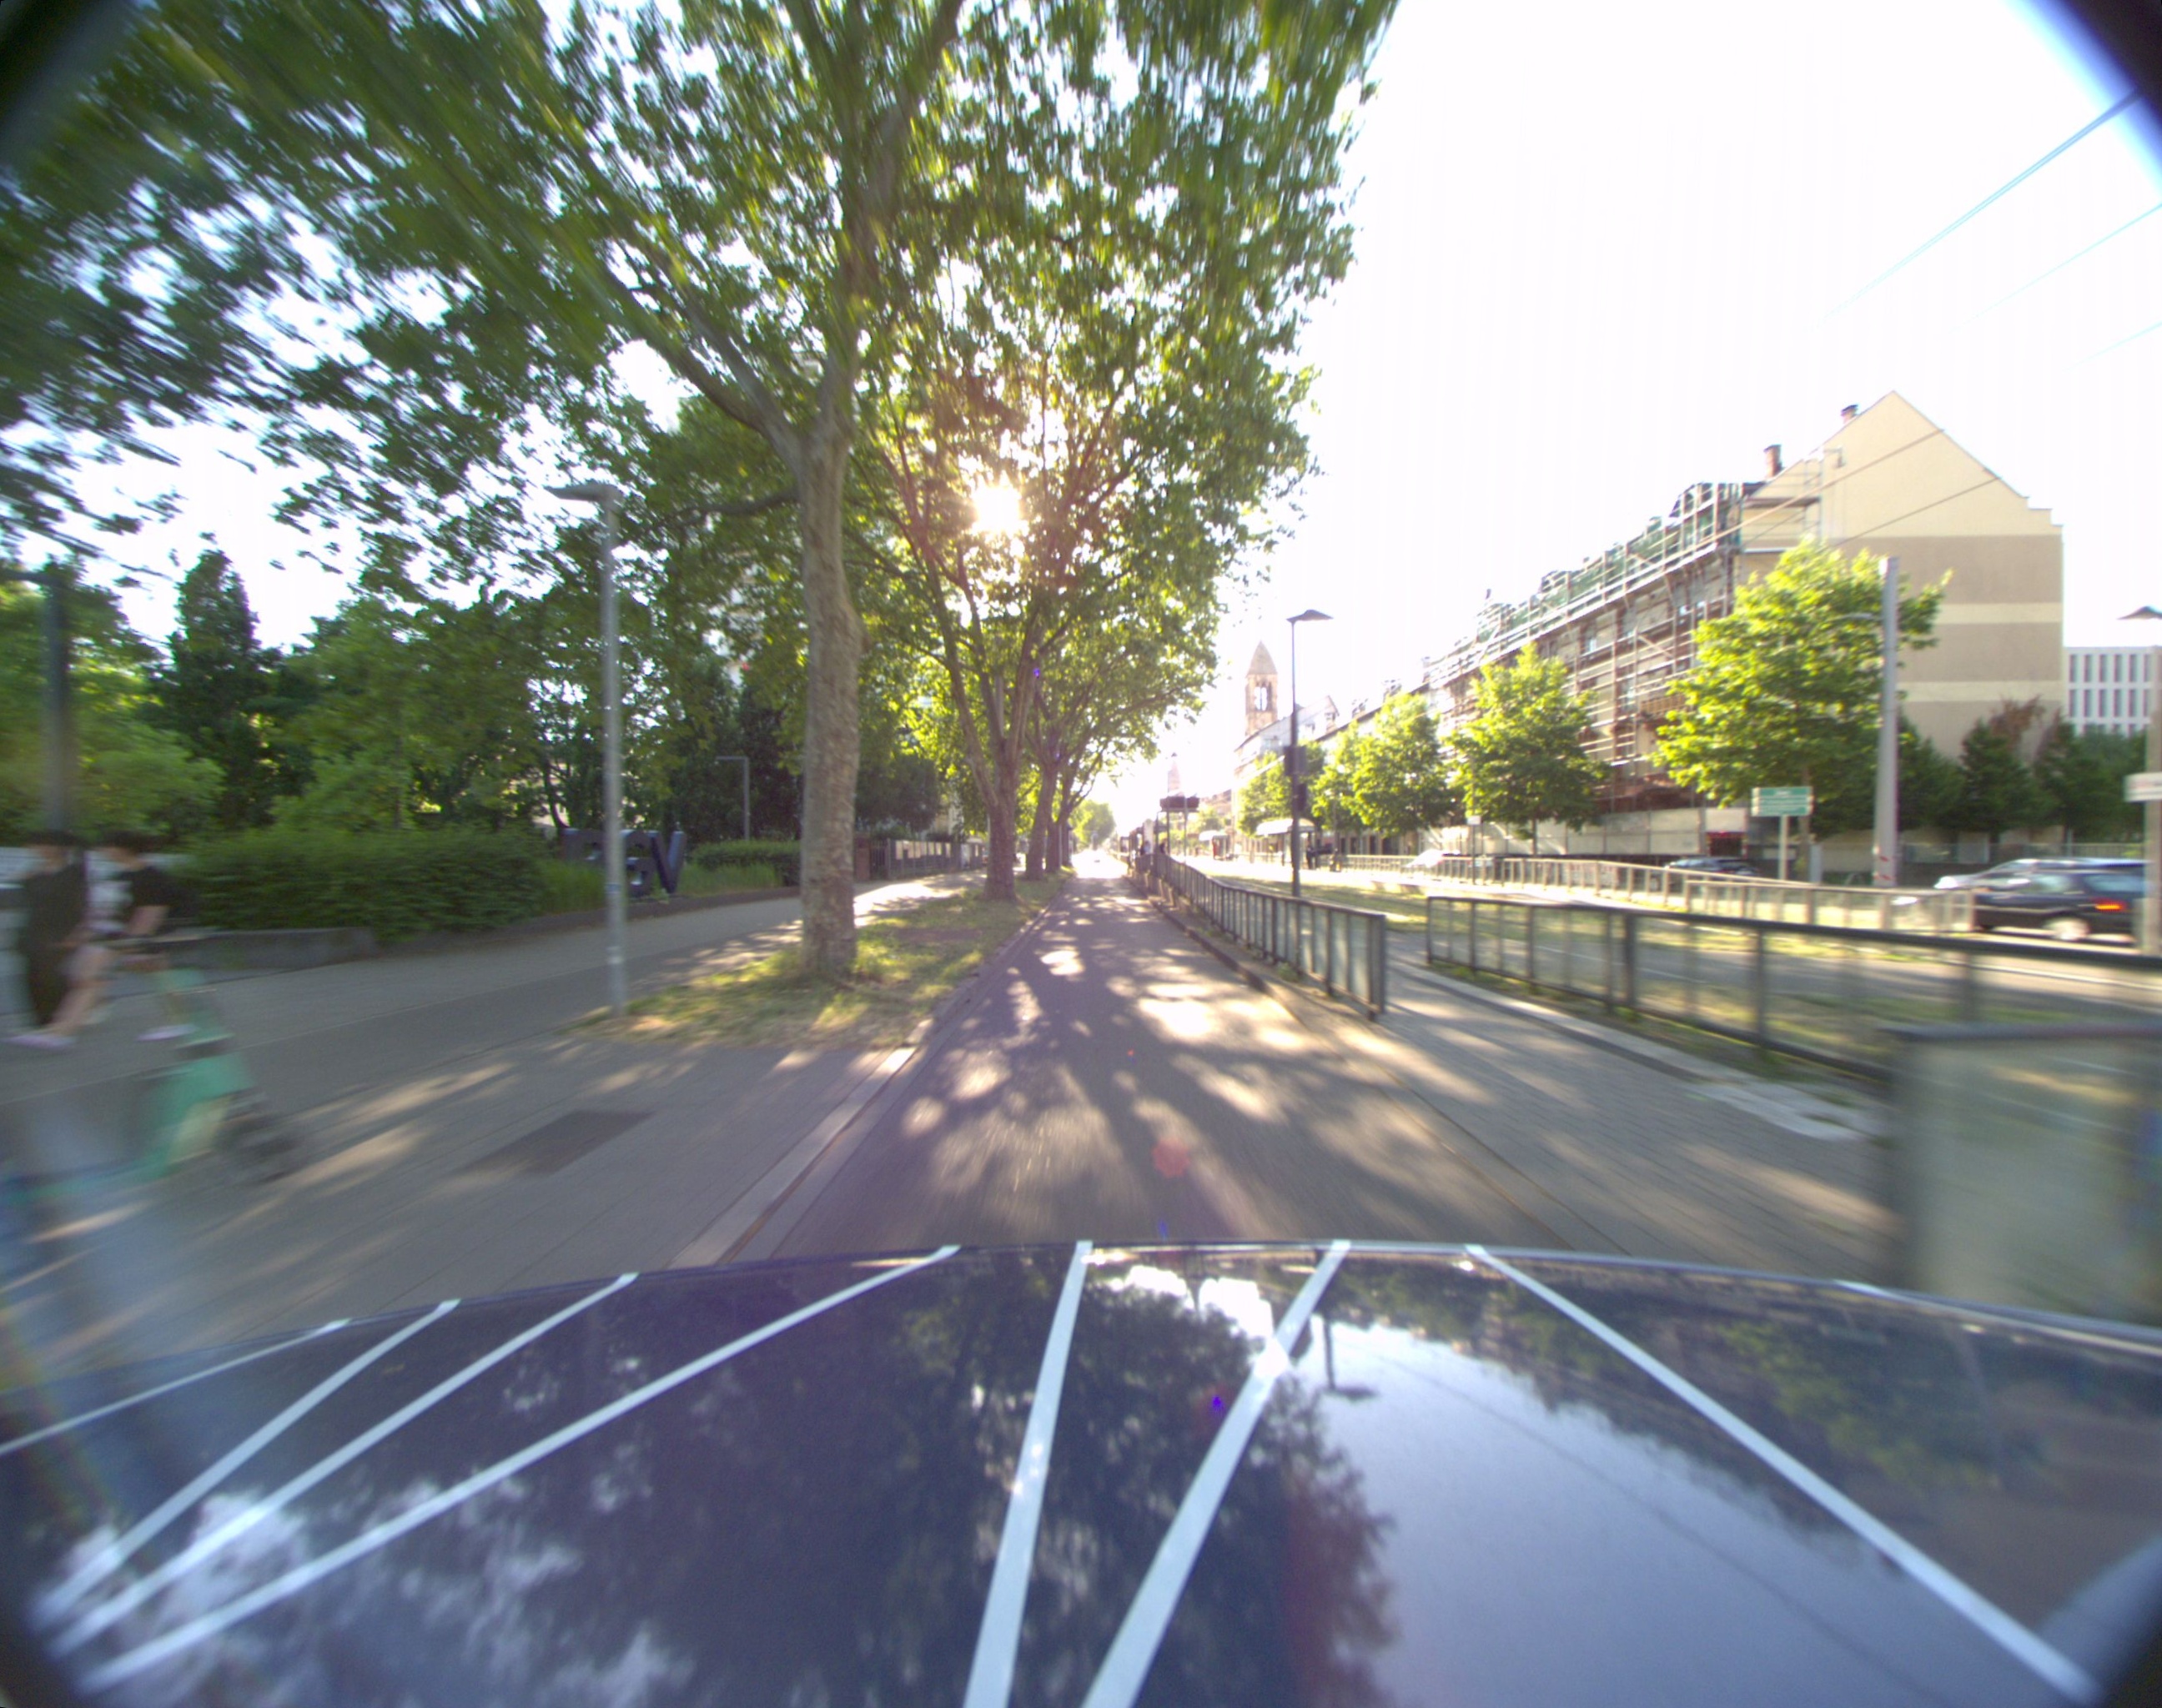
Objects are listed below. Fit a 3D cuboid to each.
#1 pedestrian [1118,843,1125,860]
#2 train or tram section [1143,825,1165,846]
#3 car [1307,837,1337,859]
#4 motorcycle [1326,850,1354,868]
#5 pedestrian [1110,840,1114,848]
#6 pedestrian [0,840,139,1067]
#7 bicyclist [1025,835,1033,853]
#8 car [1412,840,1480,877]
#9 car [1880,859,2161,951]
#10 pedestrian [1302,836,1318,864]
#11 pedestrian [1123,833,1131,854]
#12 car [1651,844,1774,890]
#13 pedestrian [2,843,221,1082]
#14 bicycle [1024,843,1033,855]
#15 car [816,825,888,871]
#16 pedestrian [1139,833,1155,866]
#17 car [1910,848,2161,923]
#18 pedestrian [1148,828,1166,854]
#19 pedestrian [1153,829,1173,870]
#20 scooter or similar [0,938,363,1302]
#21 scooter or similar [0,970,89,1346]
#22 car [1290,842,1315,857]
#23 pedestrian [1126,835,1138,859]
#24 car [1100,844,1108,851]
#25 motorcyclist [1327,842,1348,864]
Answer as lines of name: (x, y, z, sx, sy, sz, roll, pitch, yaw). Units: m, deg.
pedestrian: (3.949, -0.241, 74.371, 0.550, 1.698, 0.599, -2, 2, -2)
train or tram section: (12.958, -3.286, 136.029, 2.876, 3.665, 14.557, 0, 1, 1)
car: (25.303, -0.686, 79.841, 1.945, 2.154, 3.784, -2, 1, 1)
motorcycle: (16.251, 0.296, 47.759, 0.820, 1.067, 2.400, -3, 1, -3)
pedestrian: (6.534, -2.138, 160.534, 0.678, 1.612, 0.925, -2, 2, -1)
pedestrian: (-8.165, 0.719, 5.910, 0.651, 1.647, 0.783, 1, 2, 1)
bicyclist: (-4.515, -0.854, 65.444, 0.604, 1.542, 0.860, 0, 2, 0)
car: (19.618, 0.193, 41.075, 1.868, 1.796, 4.027, -2, 1, 3)
car: (18.625, 0.894, 15.033, 1.610, 1.400, 3.850, -2, 1, 1)
pedestrian: (13.713, -0.248, 45.461, 0.681, 1.680, 0.654, -2, 2, -1)
pedestrian: (4.570, -1.052, 75.540, 0.600, 1.985, 0.824, -2, 2, 6)
car: (24.715, 0.450, 29.932, 1.725, 1.577, 4.065, -2, 1, 5)
pedestrian: (-7.122, 0.748, 5.628, 0.629, 1.647, 0.740, 1, 2, 1)
bicycle: (-4.507, -0.405, 65.507, 0.604, 1.020, 1.766, 0, 1, 0)
car: (-13.787, -0.410, 46.162, 1.998, 2.485, 6.346, -2, 1, 3)
pedestrian: (3.456, -0.220, 39.877, 0.681, 1.680, 0.894, -2, 2, 1)
car: (24.062, 0.708, 19.321, 1.725, 1.577, 4.065, -2, 1, 5)
pedestrian: (5.057, -0.856, 50.361, 0.912, 1.712, 0.630, -4, 2, -32)
pedestrian: (3.482, -0.187, 32.339, 0.758, 1.680, 0.678, -2, 2, 1)
scooter or similar: (-4.023, 1.043, 3.269, 1.054, 1.237, 0.841, 1, 2, 4)
scooter or similar: (-4.189, 1.047, 2.380, 1.054, 1.237, 0.841, 1, 2, 4)
car: (25.498, -0.541, 87.497, 1.811, 1.626, 3.784, -2, 1, 1)
pedestrian: (3.807, -0.522, 56.576, 0.766, 1.749, 0.695, -2, 2, 1)
car: (5.133, -1.359, 167.757, 1.636, 1.491, 3.999, 0, 1, 1)
motorcyclist: (16.226, -0.068, 48.029, 0.820, 1.292, 1.276, -3, 2, -3)
